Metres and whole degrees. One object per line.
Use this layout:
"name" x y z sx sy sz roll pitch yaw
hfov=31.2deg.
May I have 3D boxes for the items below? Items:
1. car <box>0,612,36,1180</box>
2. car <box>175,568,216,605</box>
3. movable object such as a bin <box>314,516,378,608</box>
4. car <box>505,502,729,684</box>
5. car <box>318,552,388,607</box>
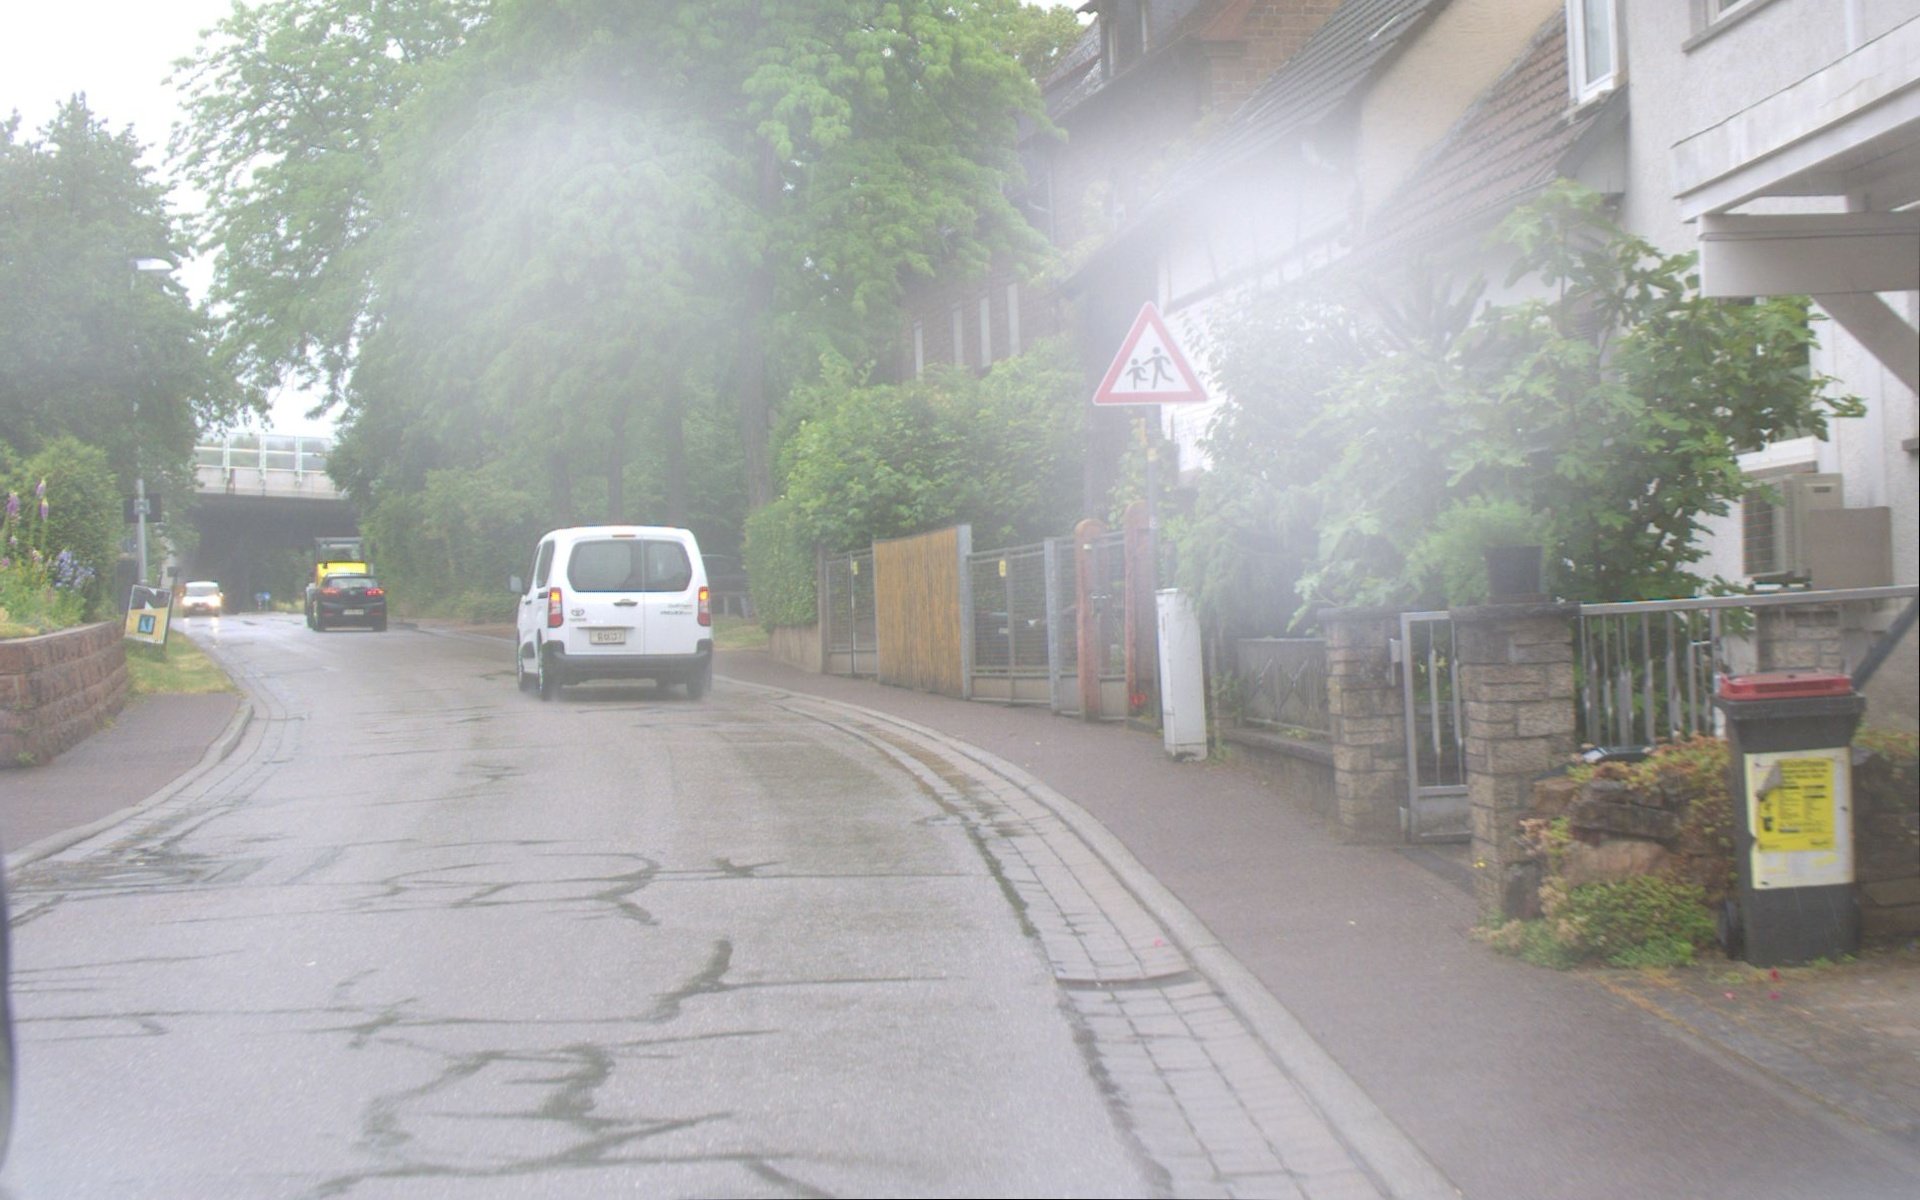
"car" -3.125 0.711 6.684 1.699 1.541 3.851 -4 1 -3
"car" -38.271 -0.665 172.023 1.823 1.825 4.308 0 0 -14
"movable object such as a bin" -17.411 -1.053 97.463 1.761 2.539 4.240 0 0 -10
"car" -3.749 -0.111 37.033 1.896 1.801 4.001 -2 1 -12
"car" -15.287 -0.505 86.519 1.708 1.373 4.001 0 0 -10
